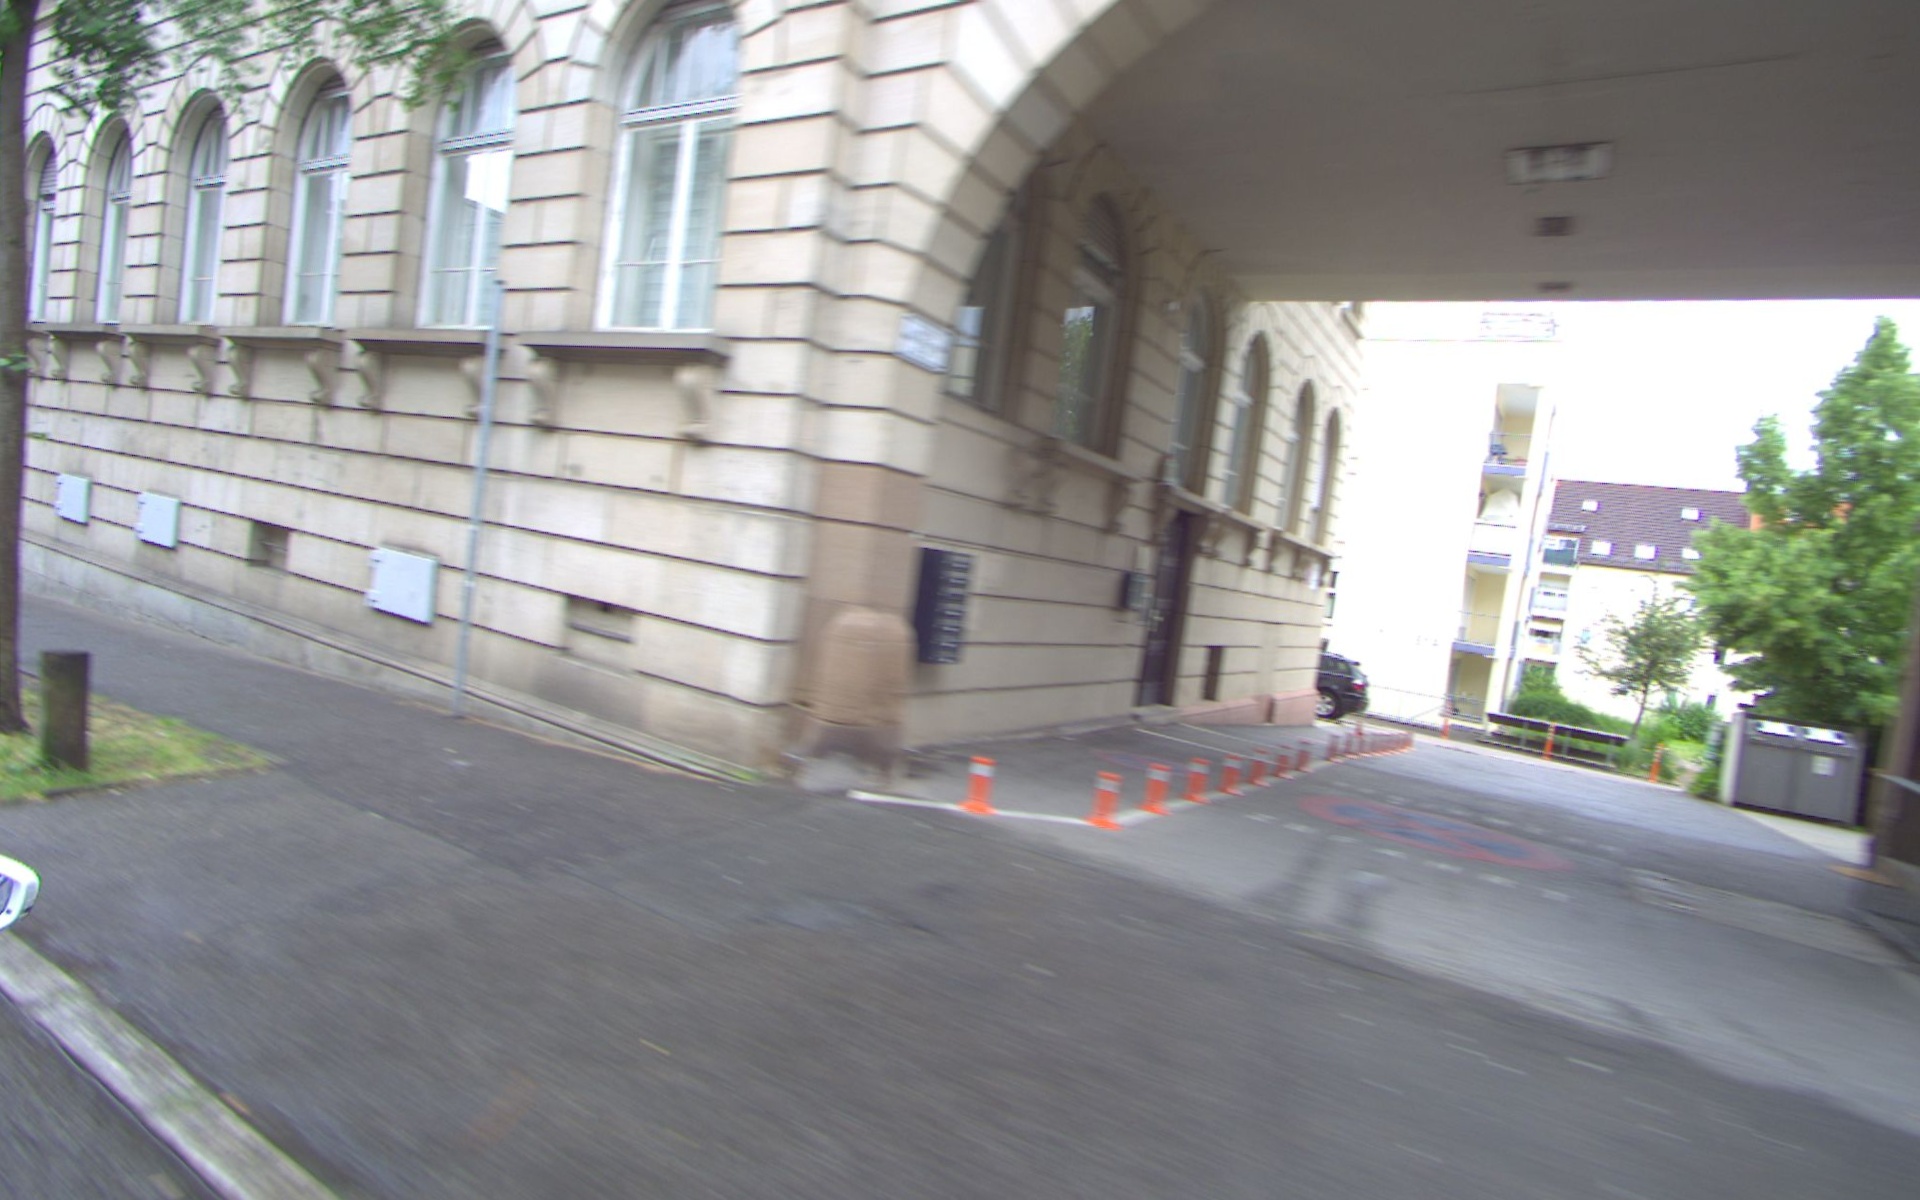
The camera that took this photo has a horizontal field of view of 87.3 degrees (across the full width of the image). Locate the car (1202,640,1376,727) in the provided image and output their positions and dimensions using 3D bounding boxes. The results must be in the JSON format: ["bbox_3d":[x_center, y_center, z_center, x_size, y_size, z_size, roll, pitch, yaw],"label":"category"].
[{"bbox_3d":[8.671,2.163,26.566,4.027,1.711,1.777,6,-1,26],"label":"car"}]

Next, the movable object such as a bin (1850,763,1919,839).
[{"bbox_3d":[15.438,3.335,16.788,0.690,1.081,0.640,6,-1,32],"label":"movable object such as a bin"}]

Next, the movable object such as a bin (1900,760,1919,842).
[{"bbox_3d":[15.921,3.309,16.335,0.690,1.273,0.831,6,-1,31],"label":"movable object such as a bin"}]
